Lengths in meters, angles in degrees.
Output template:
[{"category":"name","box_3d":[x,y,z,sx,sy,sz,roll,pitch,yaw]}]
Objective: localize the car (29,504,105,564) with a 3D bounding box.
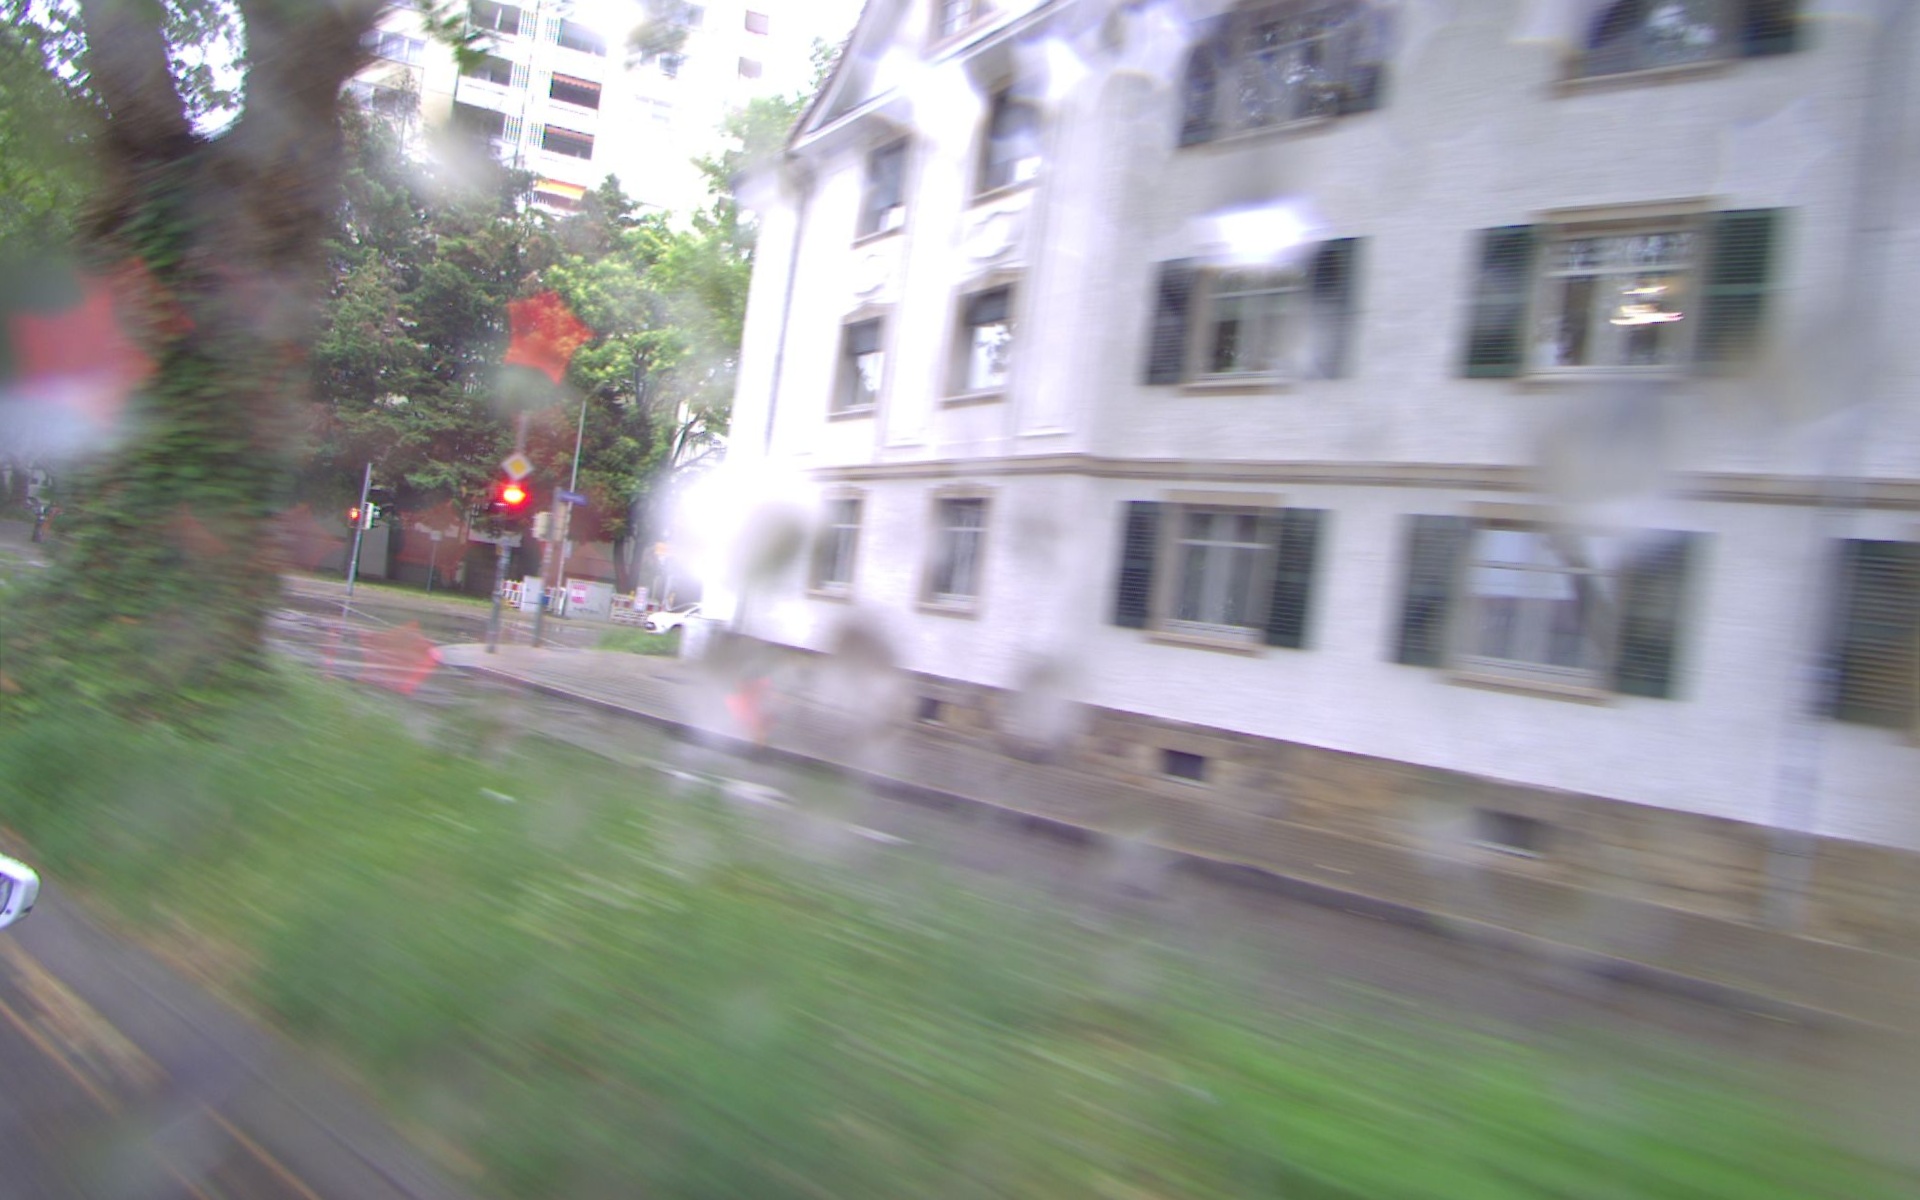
[{"category":"car","box_3d":[-36.179,-2.690,40.844,1.986,2.038,3.955,7,0,-40]}]

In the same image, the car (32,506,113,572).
[{"category":"car","box_3d":[-32.964,-2.291,37.474,1.986,2.038,3.955,7,0,-40]}]

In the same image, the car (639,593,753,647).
[{"category":"car","box_3d":[-9.757,0.759,37.297,3.627,1.504,1.705,8,0,-40]}]
